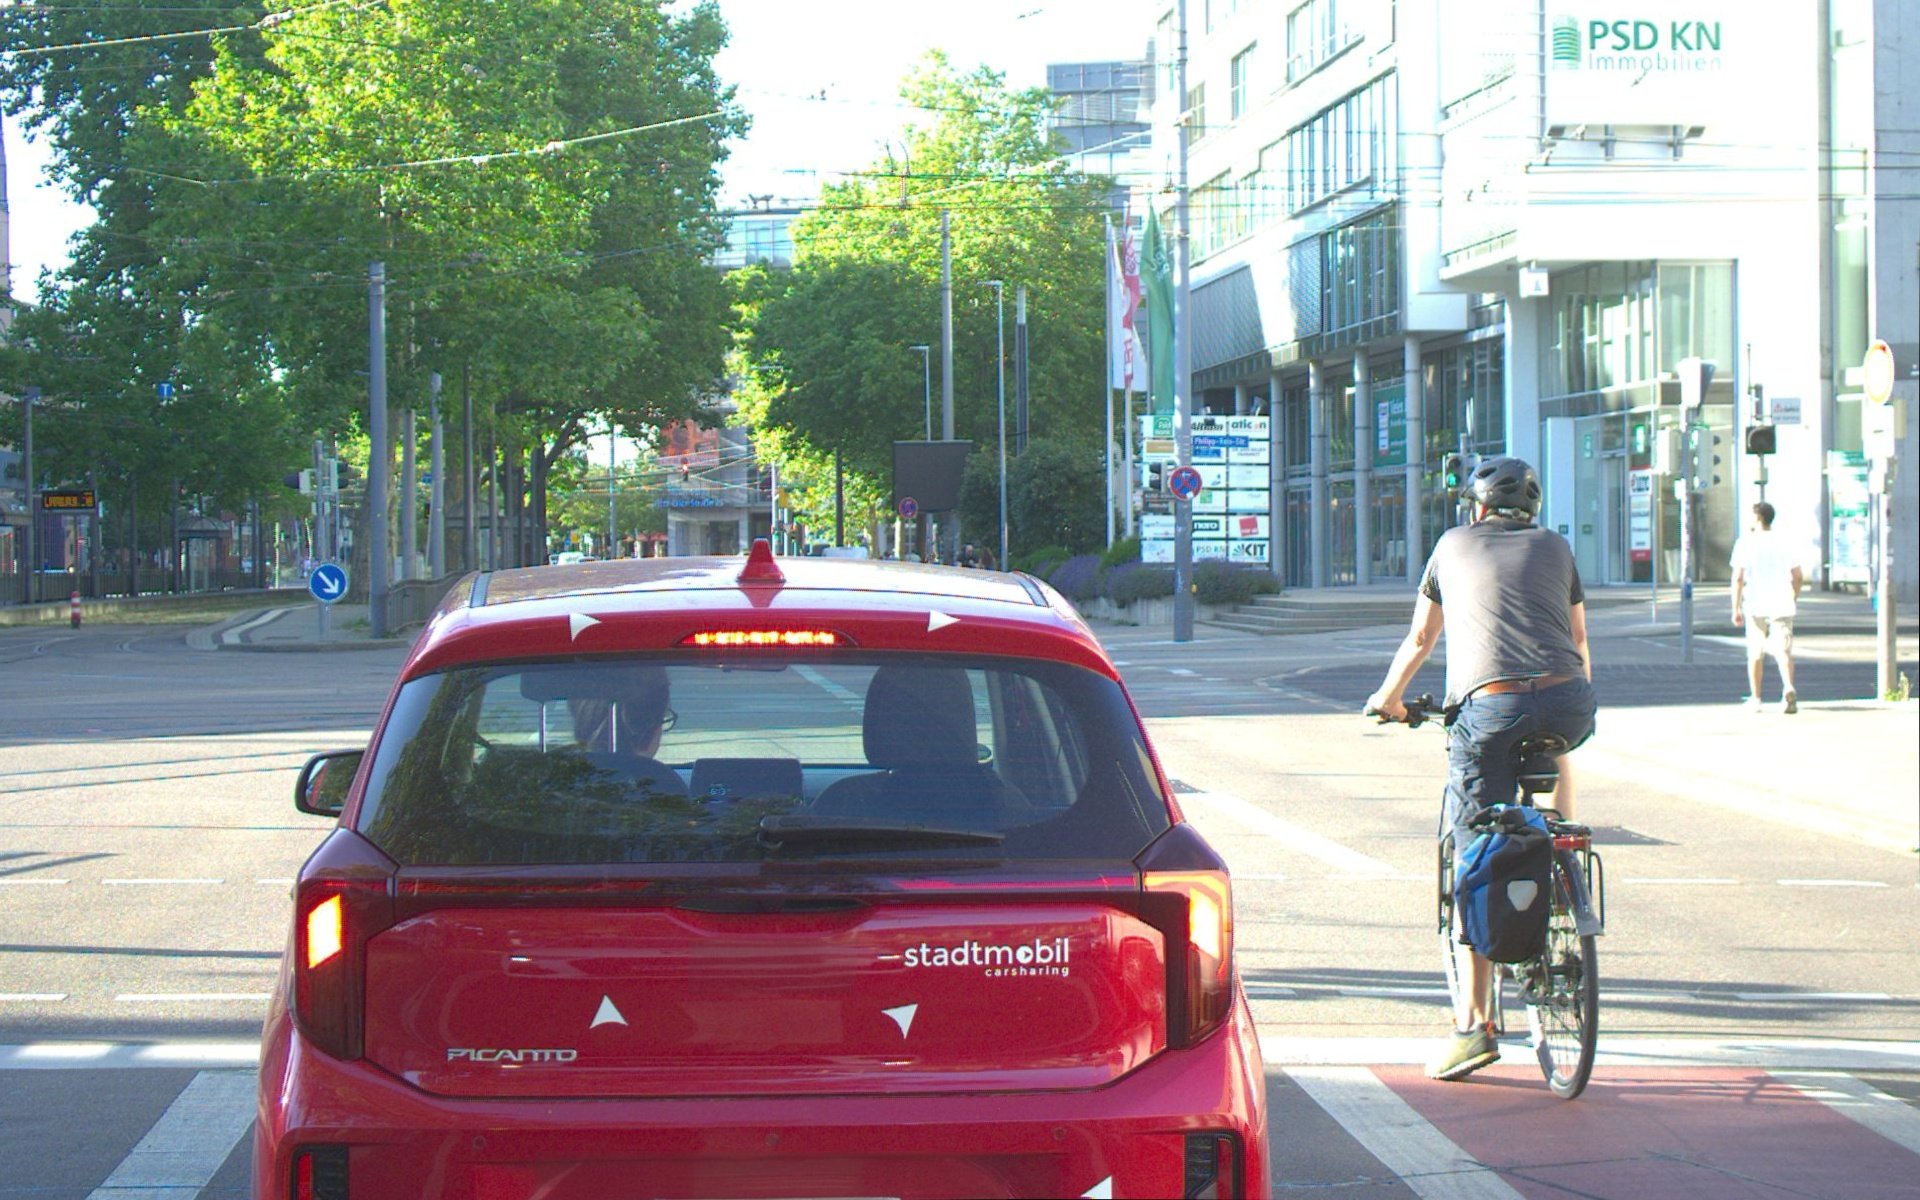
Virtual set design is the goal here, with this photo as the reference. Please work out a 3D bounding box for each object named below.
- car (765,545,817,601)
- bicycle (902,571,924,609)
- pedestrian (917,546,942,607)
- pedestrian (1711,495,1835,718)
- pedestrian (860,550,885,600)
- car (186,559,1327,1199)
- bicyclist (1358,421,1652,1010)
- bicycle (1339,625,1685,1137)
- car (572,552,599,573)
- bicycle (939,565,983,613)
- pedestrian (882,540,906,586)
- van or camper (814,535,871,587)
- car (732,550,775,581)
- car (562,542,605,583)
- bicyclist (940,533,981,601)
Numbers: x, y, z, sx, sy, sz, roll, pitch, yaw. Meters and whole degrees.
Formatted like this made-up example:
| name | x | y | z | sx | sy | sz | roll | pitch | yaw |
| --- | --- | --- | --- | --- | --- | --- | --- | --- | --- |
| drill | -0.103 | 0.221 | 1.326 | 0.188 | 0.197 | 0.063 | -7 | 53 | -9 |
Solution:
| name | x | y | z | sx | sy | sz | roll | pitch | yaw |
| --- | --- | --- | --- | --- | --- | --- | --- | --- | --- |
| car | -5.537 | -0.894 | 112.447 | 1.635 | 1.794 | 3.330 | -1 | 1 | -3 |
| bicycle | -1.283 | -0.281 | 94.418 | 0.520 | 0.971 | 2.202 | -4 | 2 | -1 |
| pedestrian | -0.837 | -0.655 | 94.570 | 0.646 | 1.674 | 0.651 | -1 | 1 | -3 |
| pedestrian | 6.766 | 0.041 | 28.667 | 0.777 | 1.817 | 1.216 | -1 | 1 | 2 |
| pedestrian | -2.843 | -0.807 | 111.625 | 0.641 | 1.574 | 0.723 | -4 | 1 | -7 |
| car | -0.432 | 0.698 | 6.580 | 1.613 | 1.529 | 3.412 | 0 | 1 | -5 |
| bicyclist | 1.547 | 0.306 | 9.902 | 0.650 | 1.597 | 1.089 | -1 | 1 | -1 |
| bicycle | 1.543 | 0.738 | 9.919 | 0.650 | 1.276 | 1.966 | -1 | 1 | -1 |
| car | -27.851 | -2.807 | 255.834 | 1.777 | 1.529 | 3.413 | 0 | 1 | -10 |
| bicycle | 0.009 | -0.276 | 83.079 | 0.696 | 1.094 | 1.751 | -4 | 2 | -10 |
| pedestrian | -2.523 | -1.414 | 132.210 | 0.891 | 1.747 | 0.841 | -1 | 1 | -1 |
| van or camper | -4.544 | -1.503 | 132.293 | 1.993 | 1.982 | 4.745 | 0 | 1 | -4 |
| car | -10.393 | -1.728 | 172.900 | 1.777 | 1.529 | 3.513 | 0 | 1 | -10 |
| car | -19.227 | -1.923 | 175.536 | 1.993 | 2.007 | 4.001 | -1 | 1 | -8 |
| bicyclist | 0.012 | -0.788 | 83.026 | 0.721 | 1.597 | 1.089 | -3 | 1 | -10 |
